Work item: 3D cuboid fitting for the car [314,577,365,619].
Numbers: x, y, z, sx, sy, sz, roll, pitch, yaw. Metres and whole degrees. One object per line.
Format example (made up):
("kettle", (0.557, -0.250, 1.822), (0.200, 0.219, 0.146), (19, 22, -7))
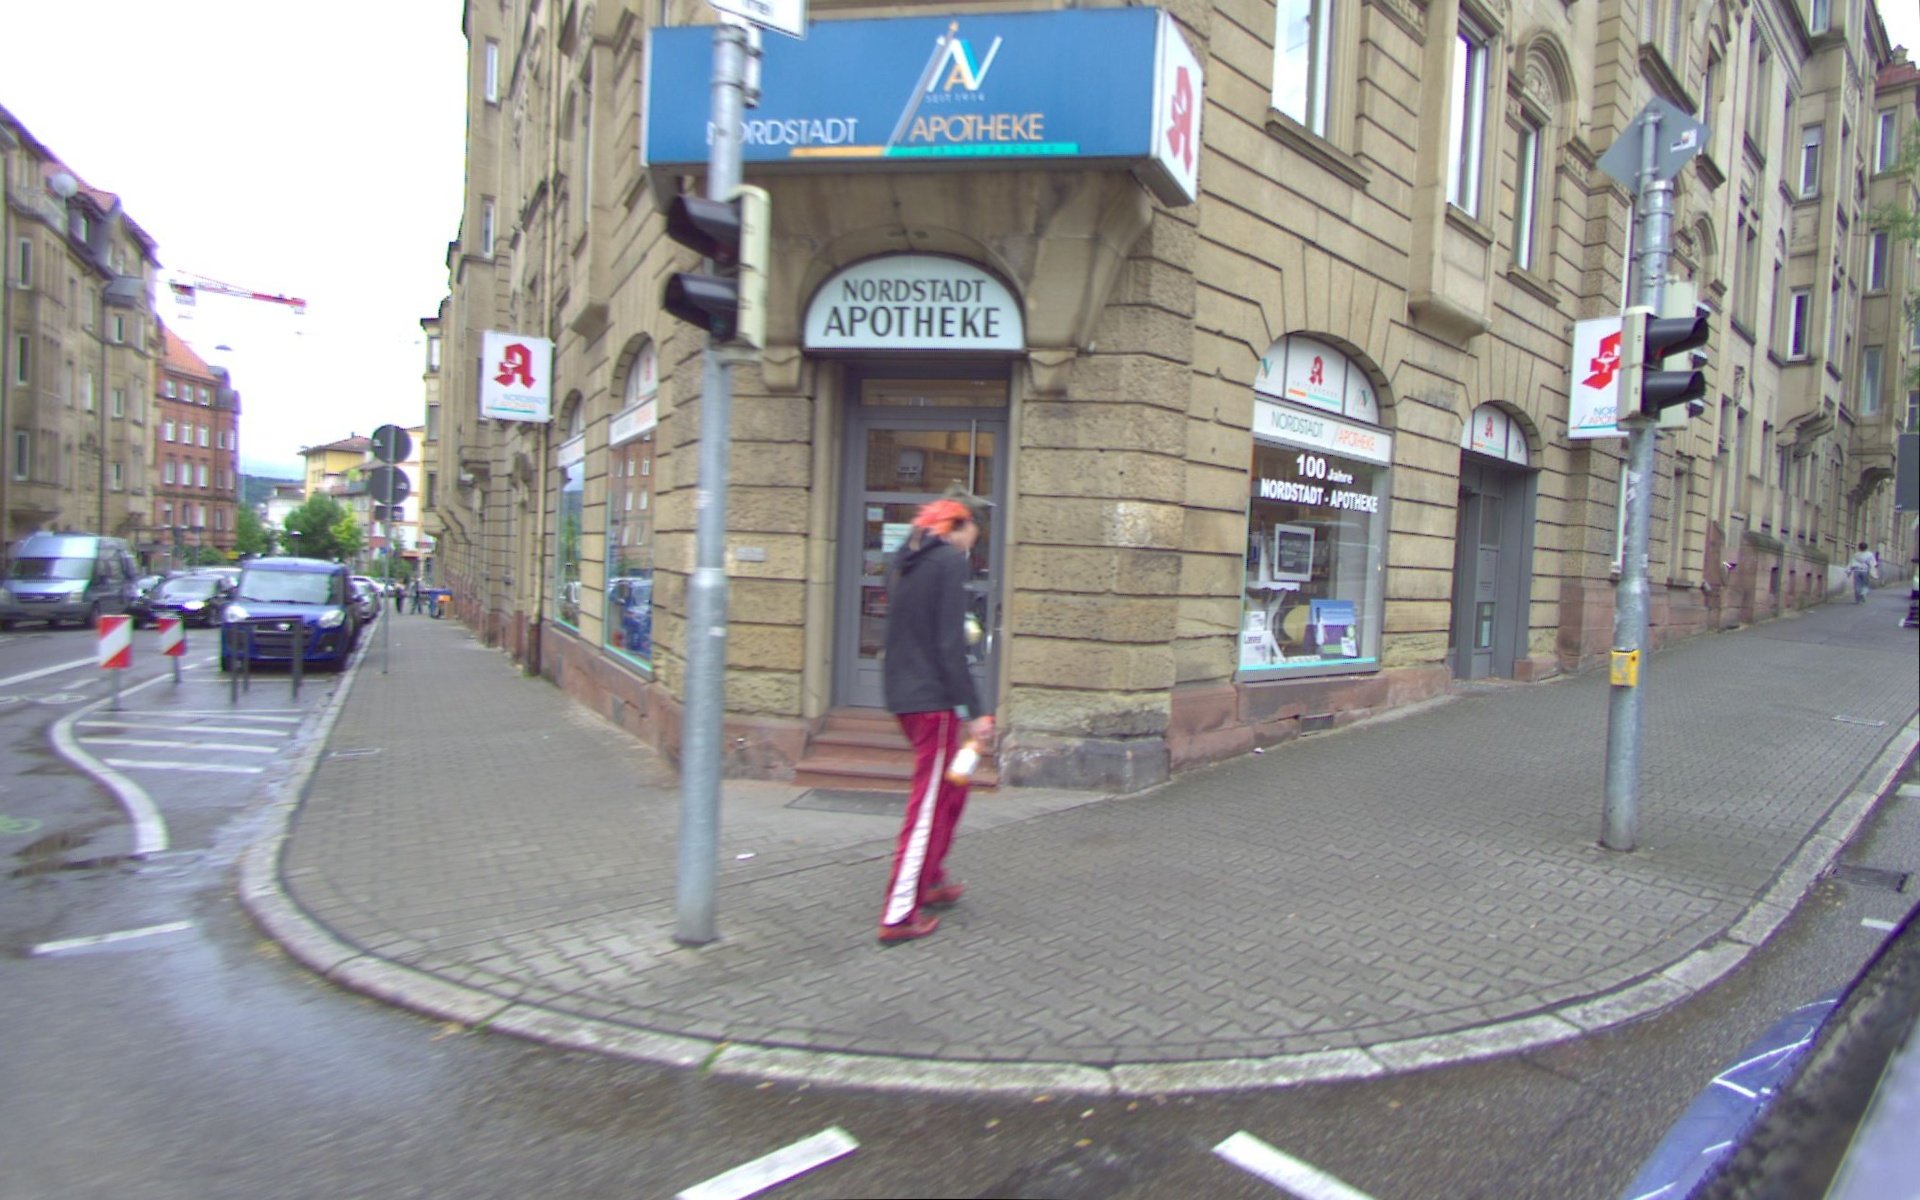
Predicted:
("car", (-24.863, -0.109, 40.591), (1.639, 1.589, 3.935), (1, 0, -31))

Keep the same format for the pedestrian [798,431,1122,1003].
("pedestrian", (0.002, 0.403, 4.084), (1.069, 1.974, 0.700), (1, 0, -34))

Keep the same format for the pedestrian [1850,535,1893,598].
("pedestrian", (23.185, -0.858, 25.740), (0.680, 1.513, 0.644), (-6, 9, -42))

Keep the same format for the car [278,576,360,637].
("car", (-16.591, 0.134, 26.311), (1.677, 1.460, 3.935), (1, 0, -31))

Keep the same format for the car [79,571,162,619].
("car", (-29.216, -0.186, 35.321), (1.639, 1.589, 3.935), (1, 0, -31))

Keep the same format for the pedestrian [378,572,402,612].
("pedestrian", (-24.170, -0.343, 42.904), (0.774, 1.664, 1.025), (-2, 1, -27))

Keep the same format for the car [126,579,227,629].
("car", (-22.116, 0.060, 28.694), (1.729, 1.320, 3.735), (-1, 1, -29))

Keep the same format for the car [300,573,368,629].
("car", (-19.188, 0.005, 31.094), (1.639, 1.589, 3.935), (1, 0, -31))

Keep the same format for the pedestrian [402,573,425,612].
("pedestrian", (-23.348, -0.325, 43.243), (0.774, 1.611, 1.025), (-2, 1, -27))

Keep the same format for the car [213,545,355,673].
("car", (-11.562, 0.108, 17.549), (1.805, 1.924, 4.182), (1, 0, -31))

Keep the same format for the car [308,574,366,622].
("car", (-21.910, -0.105, 35.646), (1.639, 1.589, 3.935), (1, 0, -31))

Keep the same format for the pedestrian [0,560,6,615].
("pedestrian", (-29.474, -0.376, 30.713), (0.649, 1.665, 0.567), (-1, 1, -35))

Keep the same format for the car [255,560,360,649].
("car", (-13.949, 0.066, 21.787), (1.713, 1.717, 3.935), (1, 0, -31))

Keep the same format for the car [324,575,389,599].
("car", (-44.319, -0.944, 74.376), (3.713, 1.708, 1.715), (0, 1, -3))

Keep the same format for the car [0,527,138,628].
("car", (-25.070, -0.625, 28.387), (2.082, 2.566, 5.481), (-1, 1, -28))
